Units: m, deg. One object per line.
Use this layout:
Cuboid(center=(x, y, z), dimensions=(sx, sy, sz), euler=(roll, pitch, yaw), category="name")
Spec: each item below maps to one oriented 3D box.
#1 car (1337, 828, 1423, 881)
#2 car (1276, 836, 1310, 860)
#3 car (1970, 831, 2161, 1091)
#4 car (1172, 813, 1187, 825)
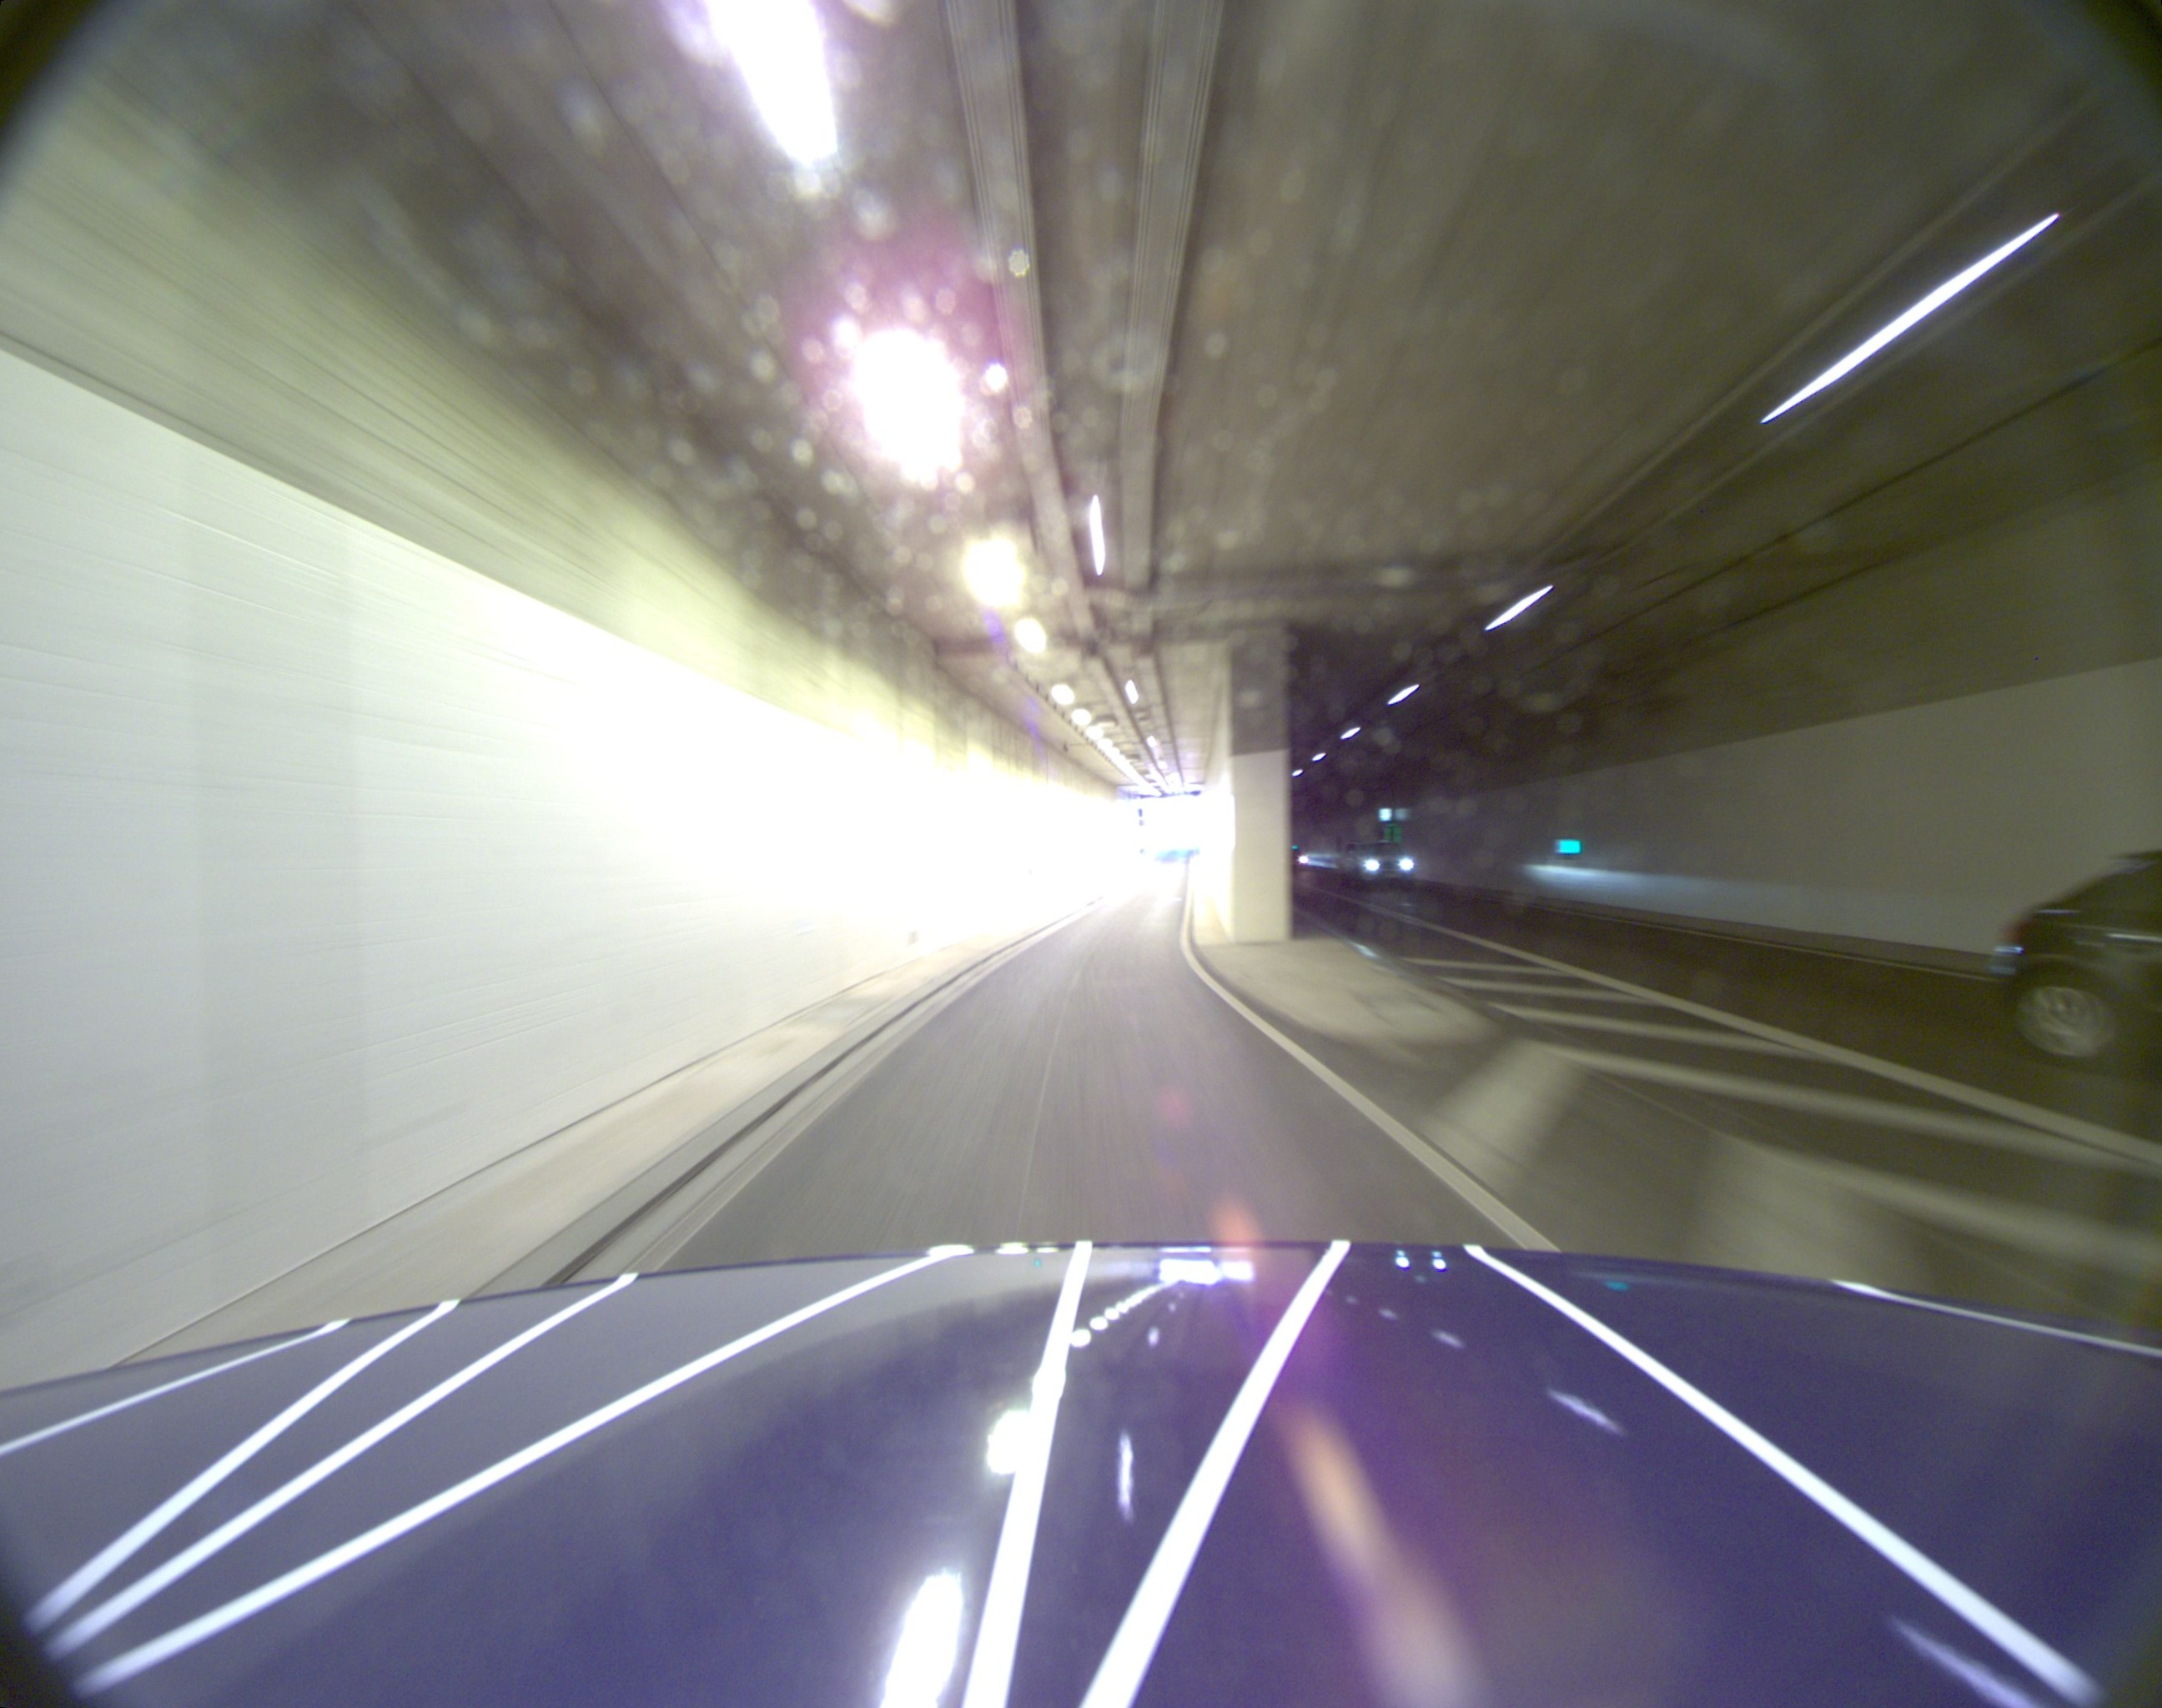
Cuboid(center=(10.201, -0.001, 26.201), dimensions=(1.853, 1.655, 3.833), euler=(-1, 0, 7), category="car")
Cuboid(center=(13.823, -0.397, 49.658), dimensions=(1.607, 1.462, 3.682), euler=(-3, 0, 9), category="car")
Cuboid(center=(6.542, 0.572, 3.059), dimensions=(1.659, 1.393, 3.878), euler=(-2, 0, 7), category="car")
Cuboid(center=(13.014, -4.592, 99.968), dimensions=(1.828, 1.328, 4.002), euler=(-1, 1, 9), category="car")
